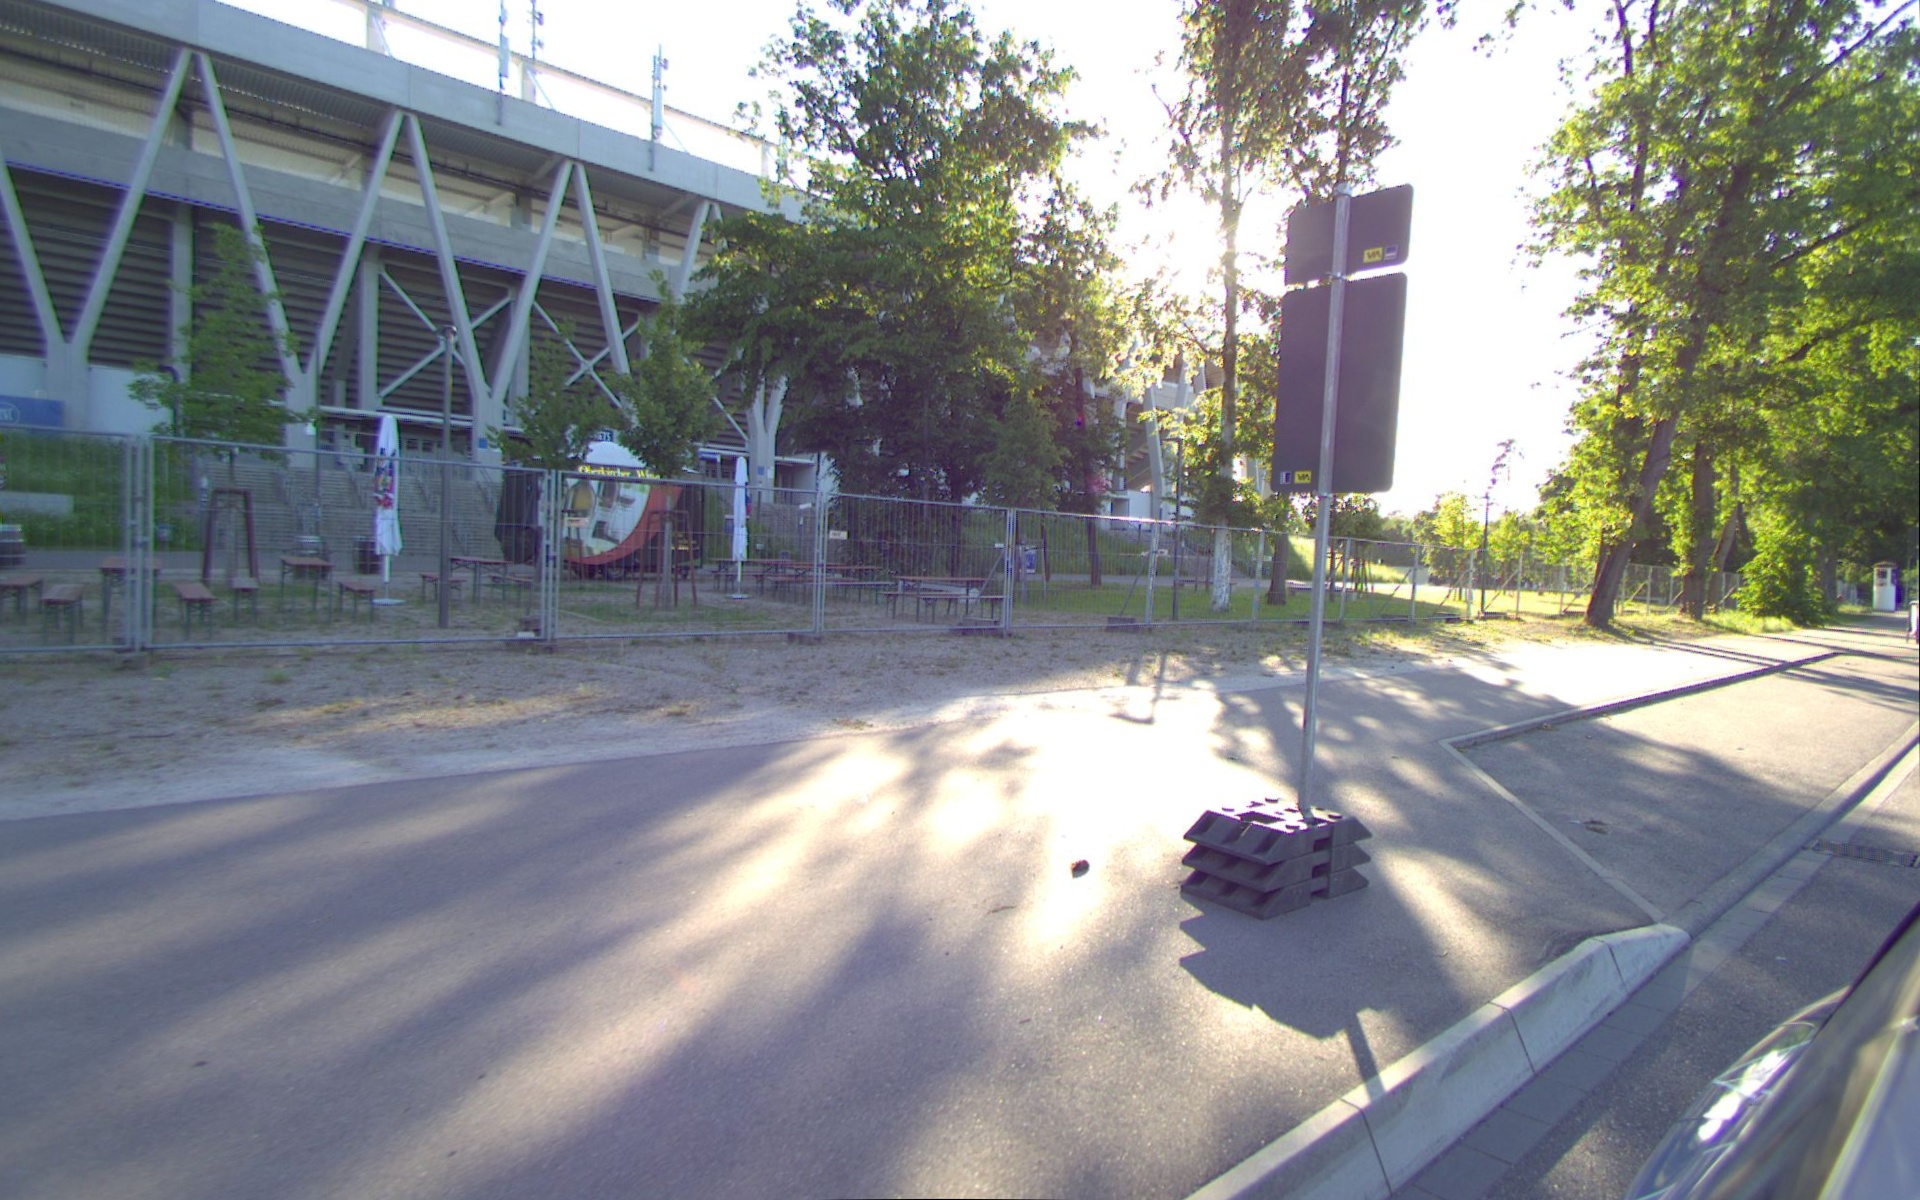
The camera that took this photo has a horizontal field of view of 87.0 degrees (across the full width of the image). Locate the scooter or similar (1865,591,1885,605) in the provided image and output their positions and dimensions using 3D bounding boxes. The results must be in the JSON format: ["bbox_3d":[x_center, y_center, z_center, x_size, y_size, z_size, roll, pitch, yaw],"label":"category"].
[{"bbox_3d":[81.706,-0.176,90.360,1.281,1.252,0.334,2,1,11],"label":"scooter or similar"}]
